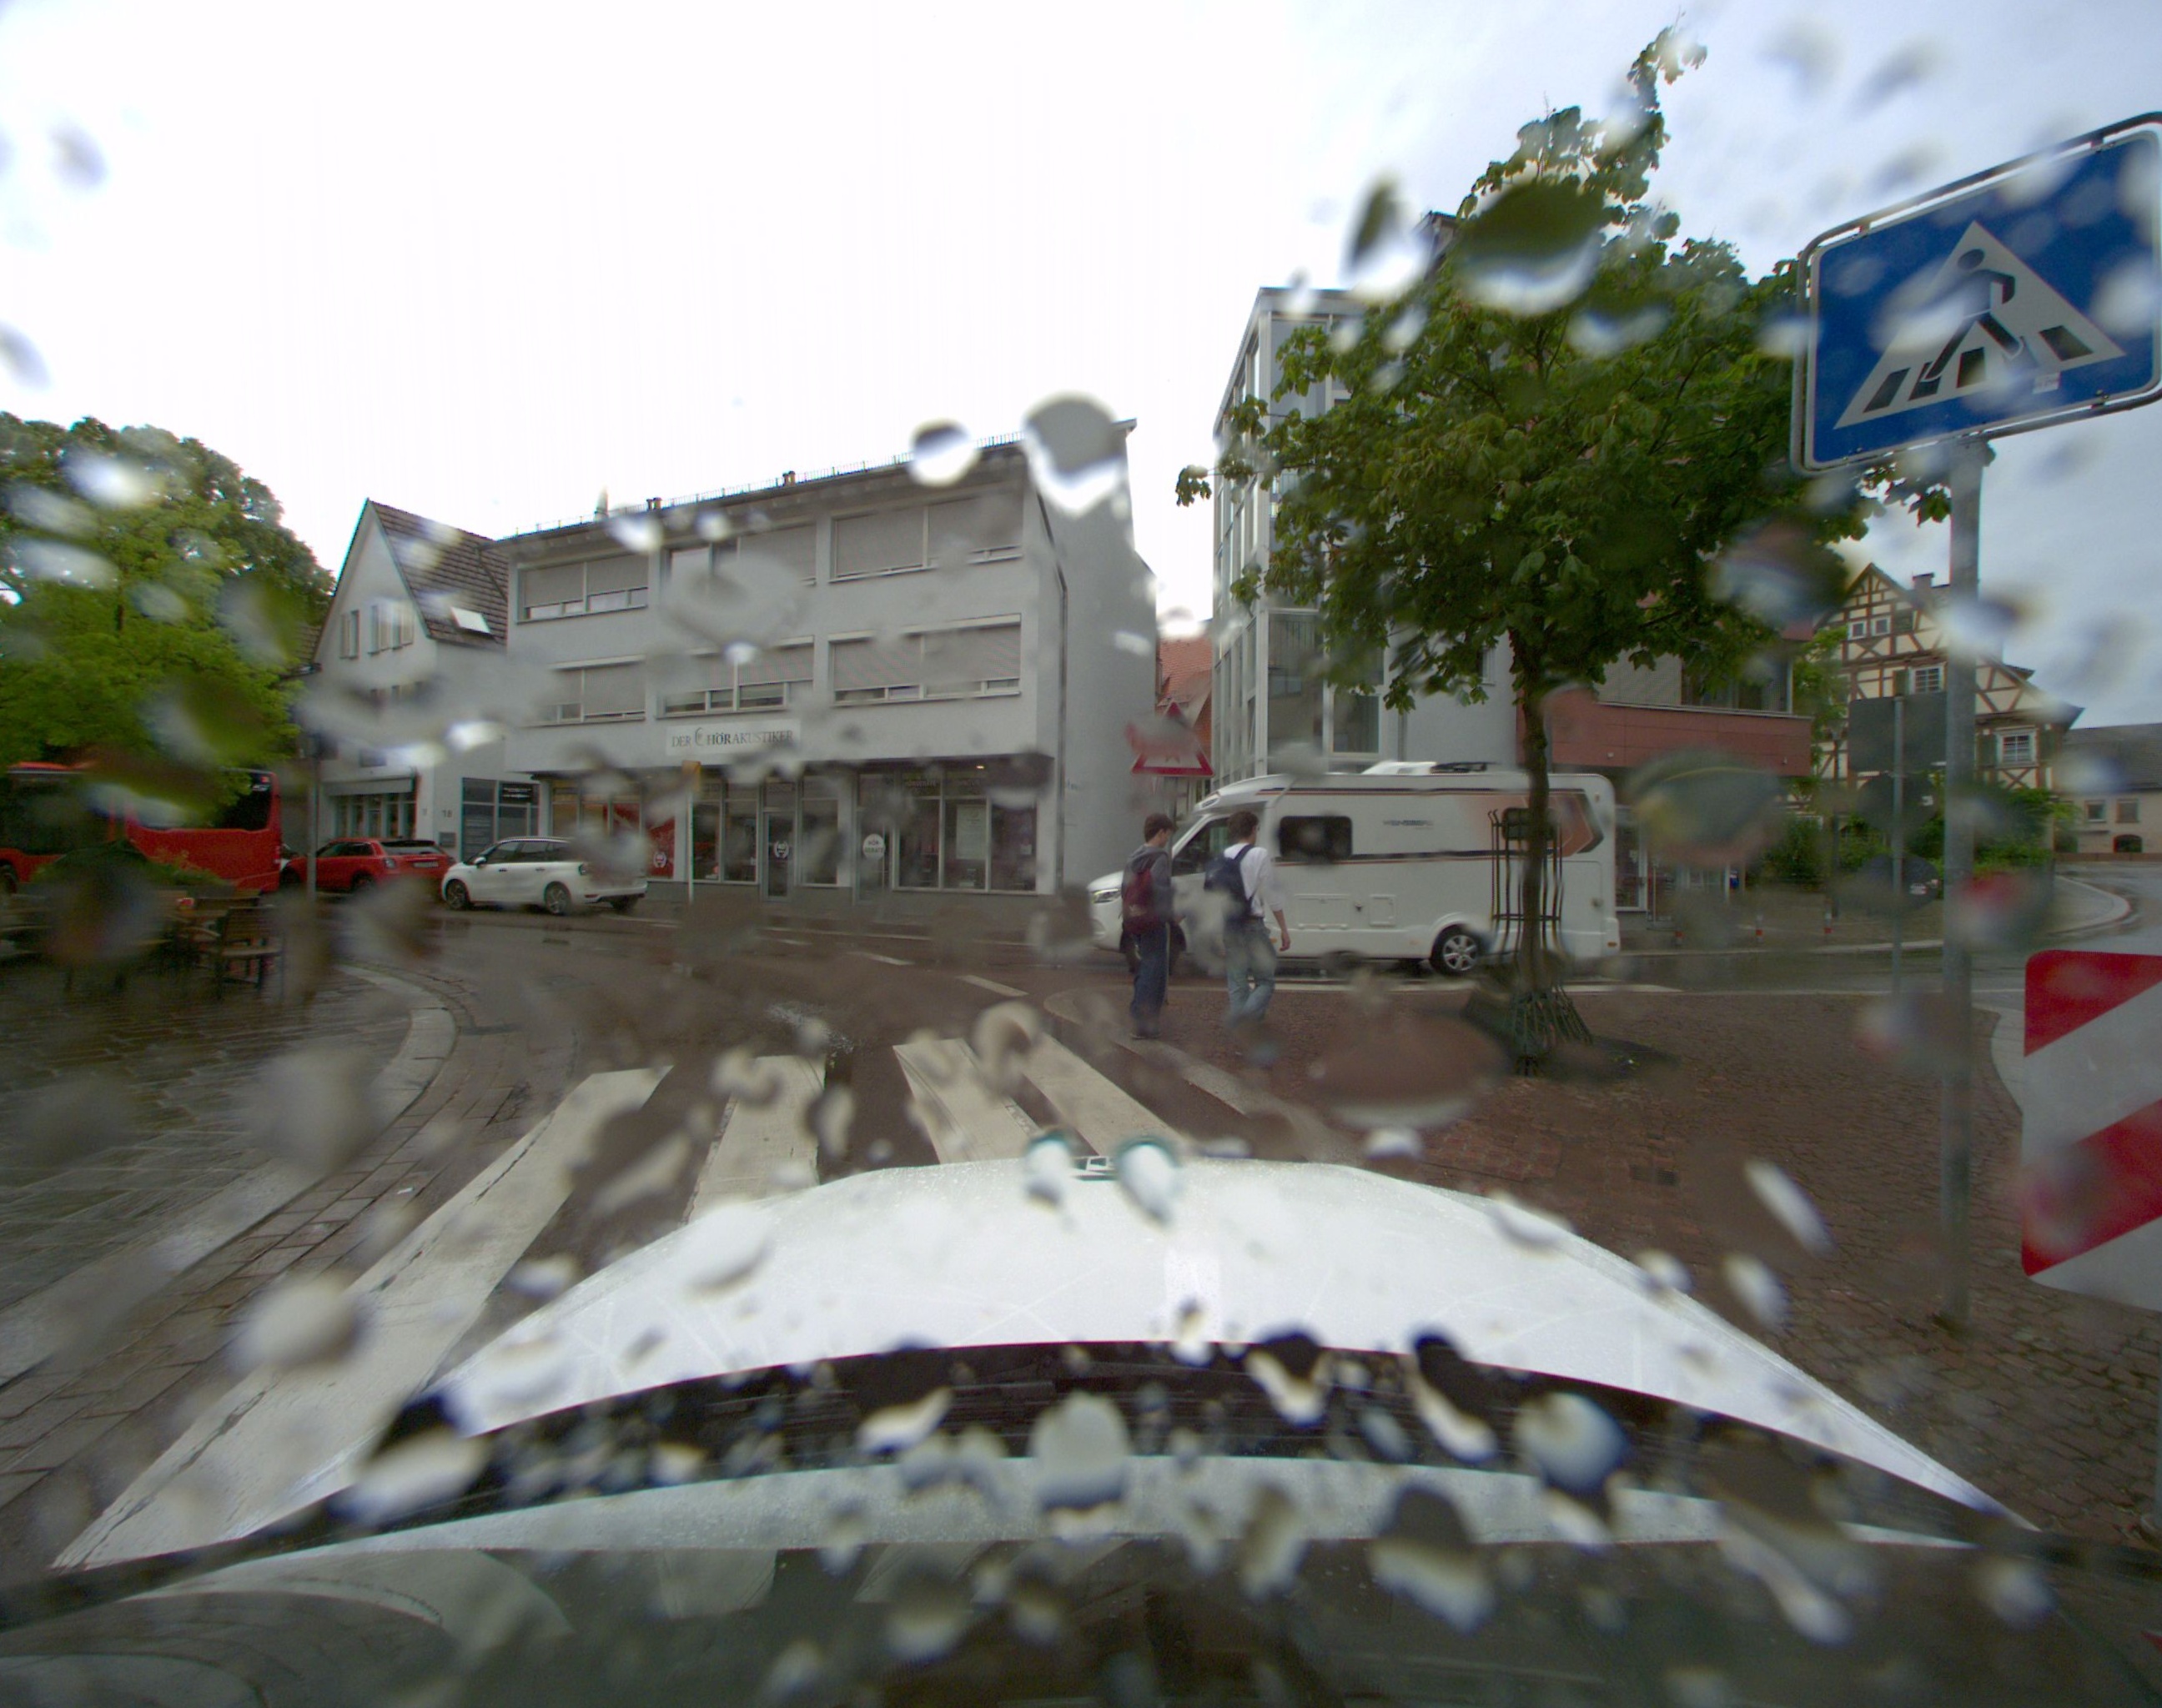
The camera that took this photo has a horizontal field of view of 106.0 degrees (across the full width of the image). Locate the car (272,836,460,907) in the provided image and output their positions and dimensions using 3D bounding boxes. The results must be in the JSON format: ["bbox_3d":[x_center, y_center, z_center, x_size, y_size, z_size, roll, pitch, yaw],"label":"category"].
[{"bbox_3d":[-17.014,0.360,19.416,3.756,1.528,1.691,1,1,18],"label":"car"}]

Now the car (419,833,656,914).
[{"bbox_3d":[-11.882,0.399,17.870,4.422,1.631,1.788,0,0,14],"label":"car"}]

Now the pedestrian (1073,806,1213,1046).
[{"bbox_3d":[0.536,0.548,6.757,0.685,1.800,1.065,0,-1,37],"label":"pedestrian"}]

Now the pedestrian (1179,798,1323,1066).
[{"bbox_3d":[1.301,0.533,6.133,0.657,1.807,1.068,0,-1,38],"label":"pedestrian"}]

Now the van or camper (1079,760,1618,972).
[{"bbox_3d":[3.433,0.146,11.568,6.698,2.586,2.448,1,-1,4],"label":"van or camper"}]

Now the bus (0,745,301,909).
[{"bbox_3d":[-22.742,-0.485,17.918,10.497,3.088,2.833,0,0,14],"label":"bus"}]
